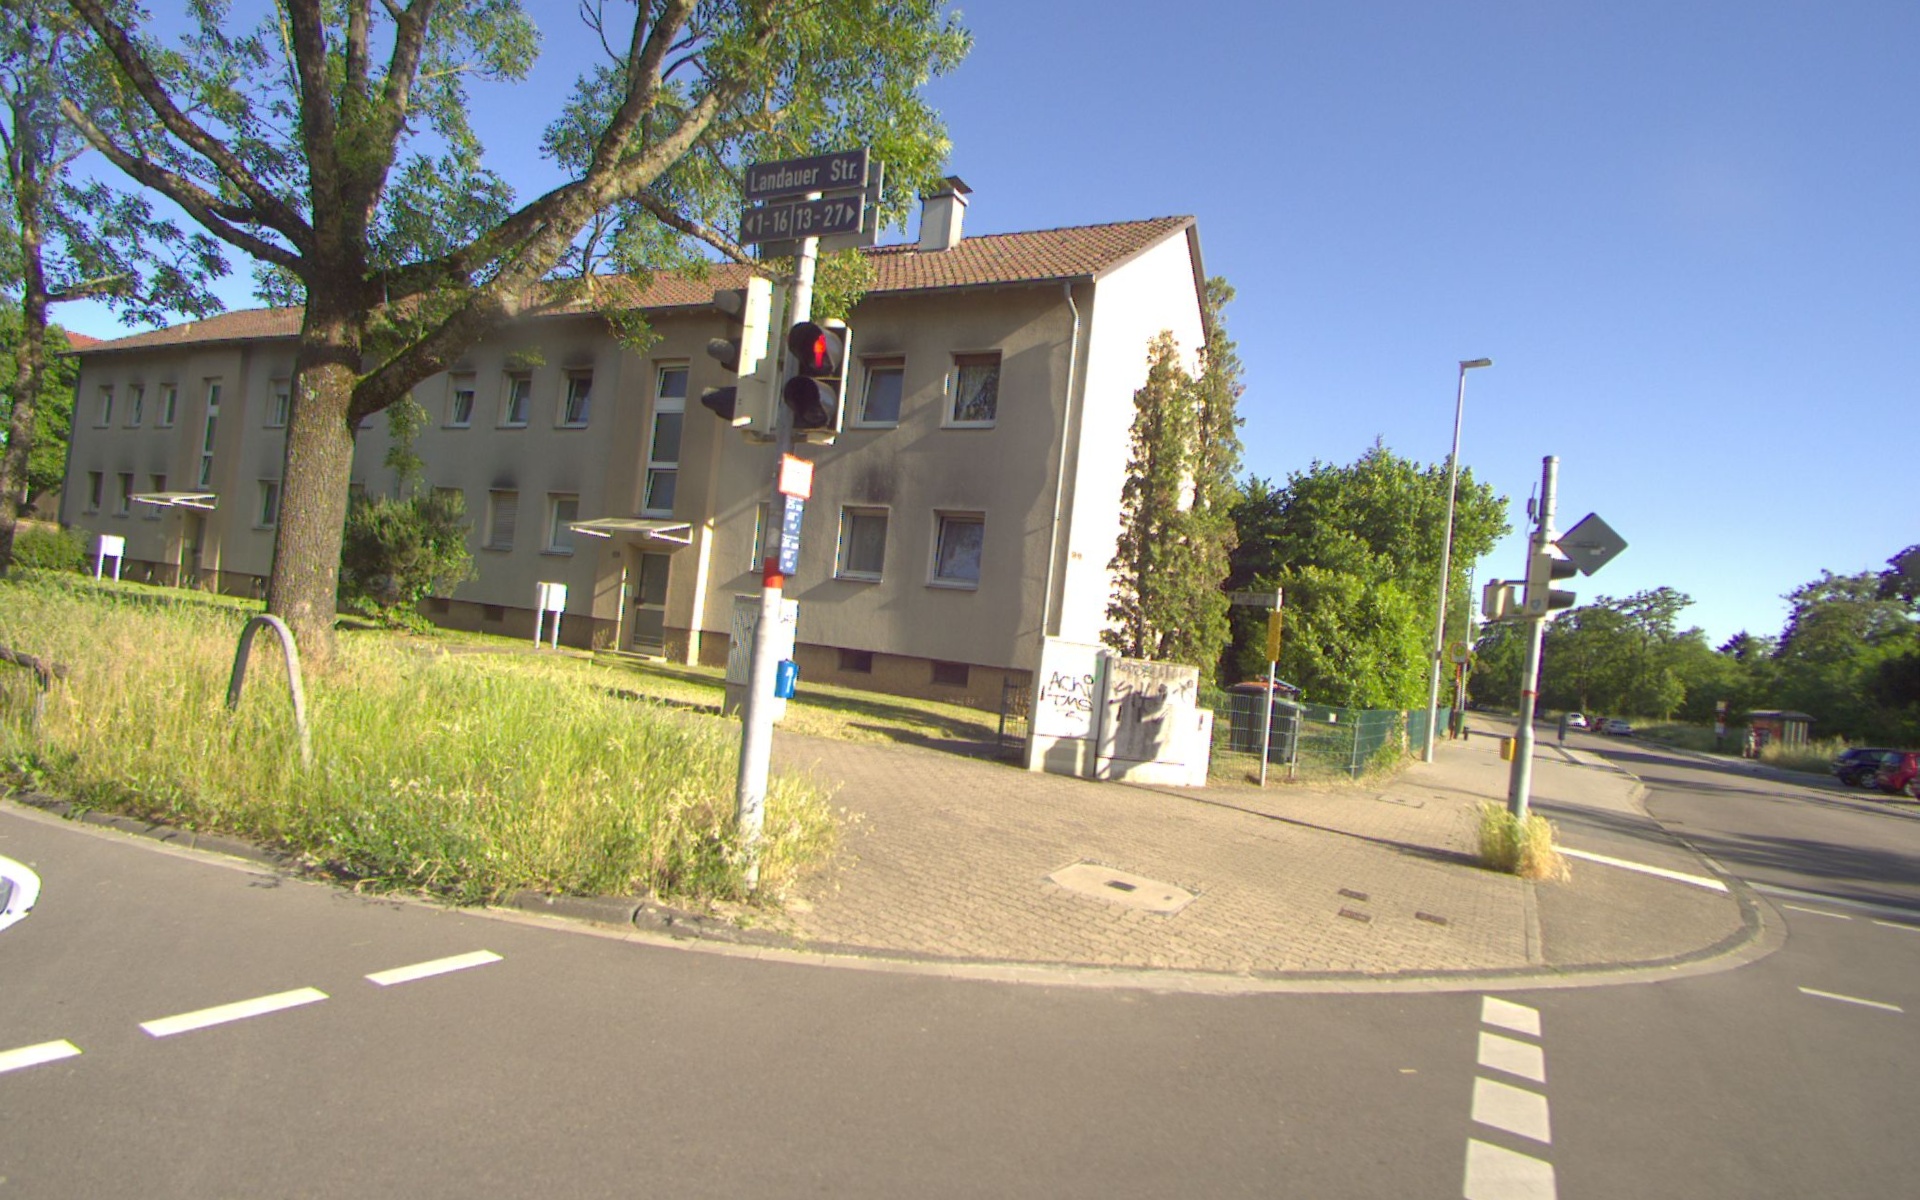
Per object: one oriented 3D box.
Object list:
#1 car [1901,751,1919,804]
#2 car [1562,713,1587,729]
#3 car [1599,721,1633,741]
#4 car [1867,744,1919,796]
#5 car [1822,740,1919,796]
[{"bbox_3d":[30.749,5.424,29.573,4.125,1.548,1.869,2,-5,28],"label":"car"},{"bbox_3d":[68.771,13.538,112.666,1.836,1.548,4.200,2,-5,24],"label":"car"},{"bbox_3d":[56.905,11.352,87.324,1.836,1.548,4.200,2,-5,24],"label":"car"},{"bbox_3d":[32.458,5.667,32.646,4.125,1.548,1.869,2,-5,28],"label":"car"},{"bbox_3d":[33.801,6.126,35.933,4.124,1.550,1.868,6,-2,28],"label":"car"}]
